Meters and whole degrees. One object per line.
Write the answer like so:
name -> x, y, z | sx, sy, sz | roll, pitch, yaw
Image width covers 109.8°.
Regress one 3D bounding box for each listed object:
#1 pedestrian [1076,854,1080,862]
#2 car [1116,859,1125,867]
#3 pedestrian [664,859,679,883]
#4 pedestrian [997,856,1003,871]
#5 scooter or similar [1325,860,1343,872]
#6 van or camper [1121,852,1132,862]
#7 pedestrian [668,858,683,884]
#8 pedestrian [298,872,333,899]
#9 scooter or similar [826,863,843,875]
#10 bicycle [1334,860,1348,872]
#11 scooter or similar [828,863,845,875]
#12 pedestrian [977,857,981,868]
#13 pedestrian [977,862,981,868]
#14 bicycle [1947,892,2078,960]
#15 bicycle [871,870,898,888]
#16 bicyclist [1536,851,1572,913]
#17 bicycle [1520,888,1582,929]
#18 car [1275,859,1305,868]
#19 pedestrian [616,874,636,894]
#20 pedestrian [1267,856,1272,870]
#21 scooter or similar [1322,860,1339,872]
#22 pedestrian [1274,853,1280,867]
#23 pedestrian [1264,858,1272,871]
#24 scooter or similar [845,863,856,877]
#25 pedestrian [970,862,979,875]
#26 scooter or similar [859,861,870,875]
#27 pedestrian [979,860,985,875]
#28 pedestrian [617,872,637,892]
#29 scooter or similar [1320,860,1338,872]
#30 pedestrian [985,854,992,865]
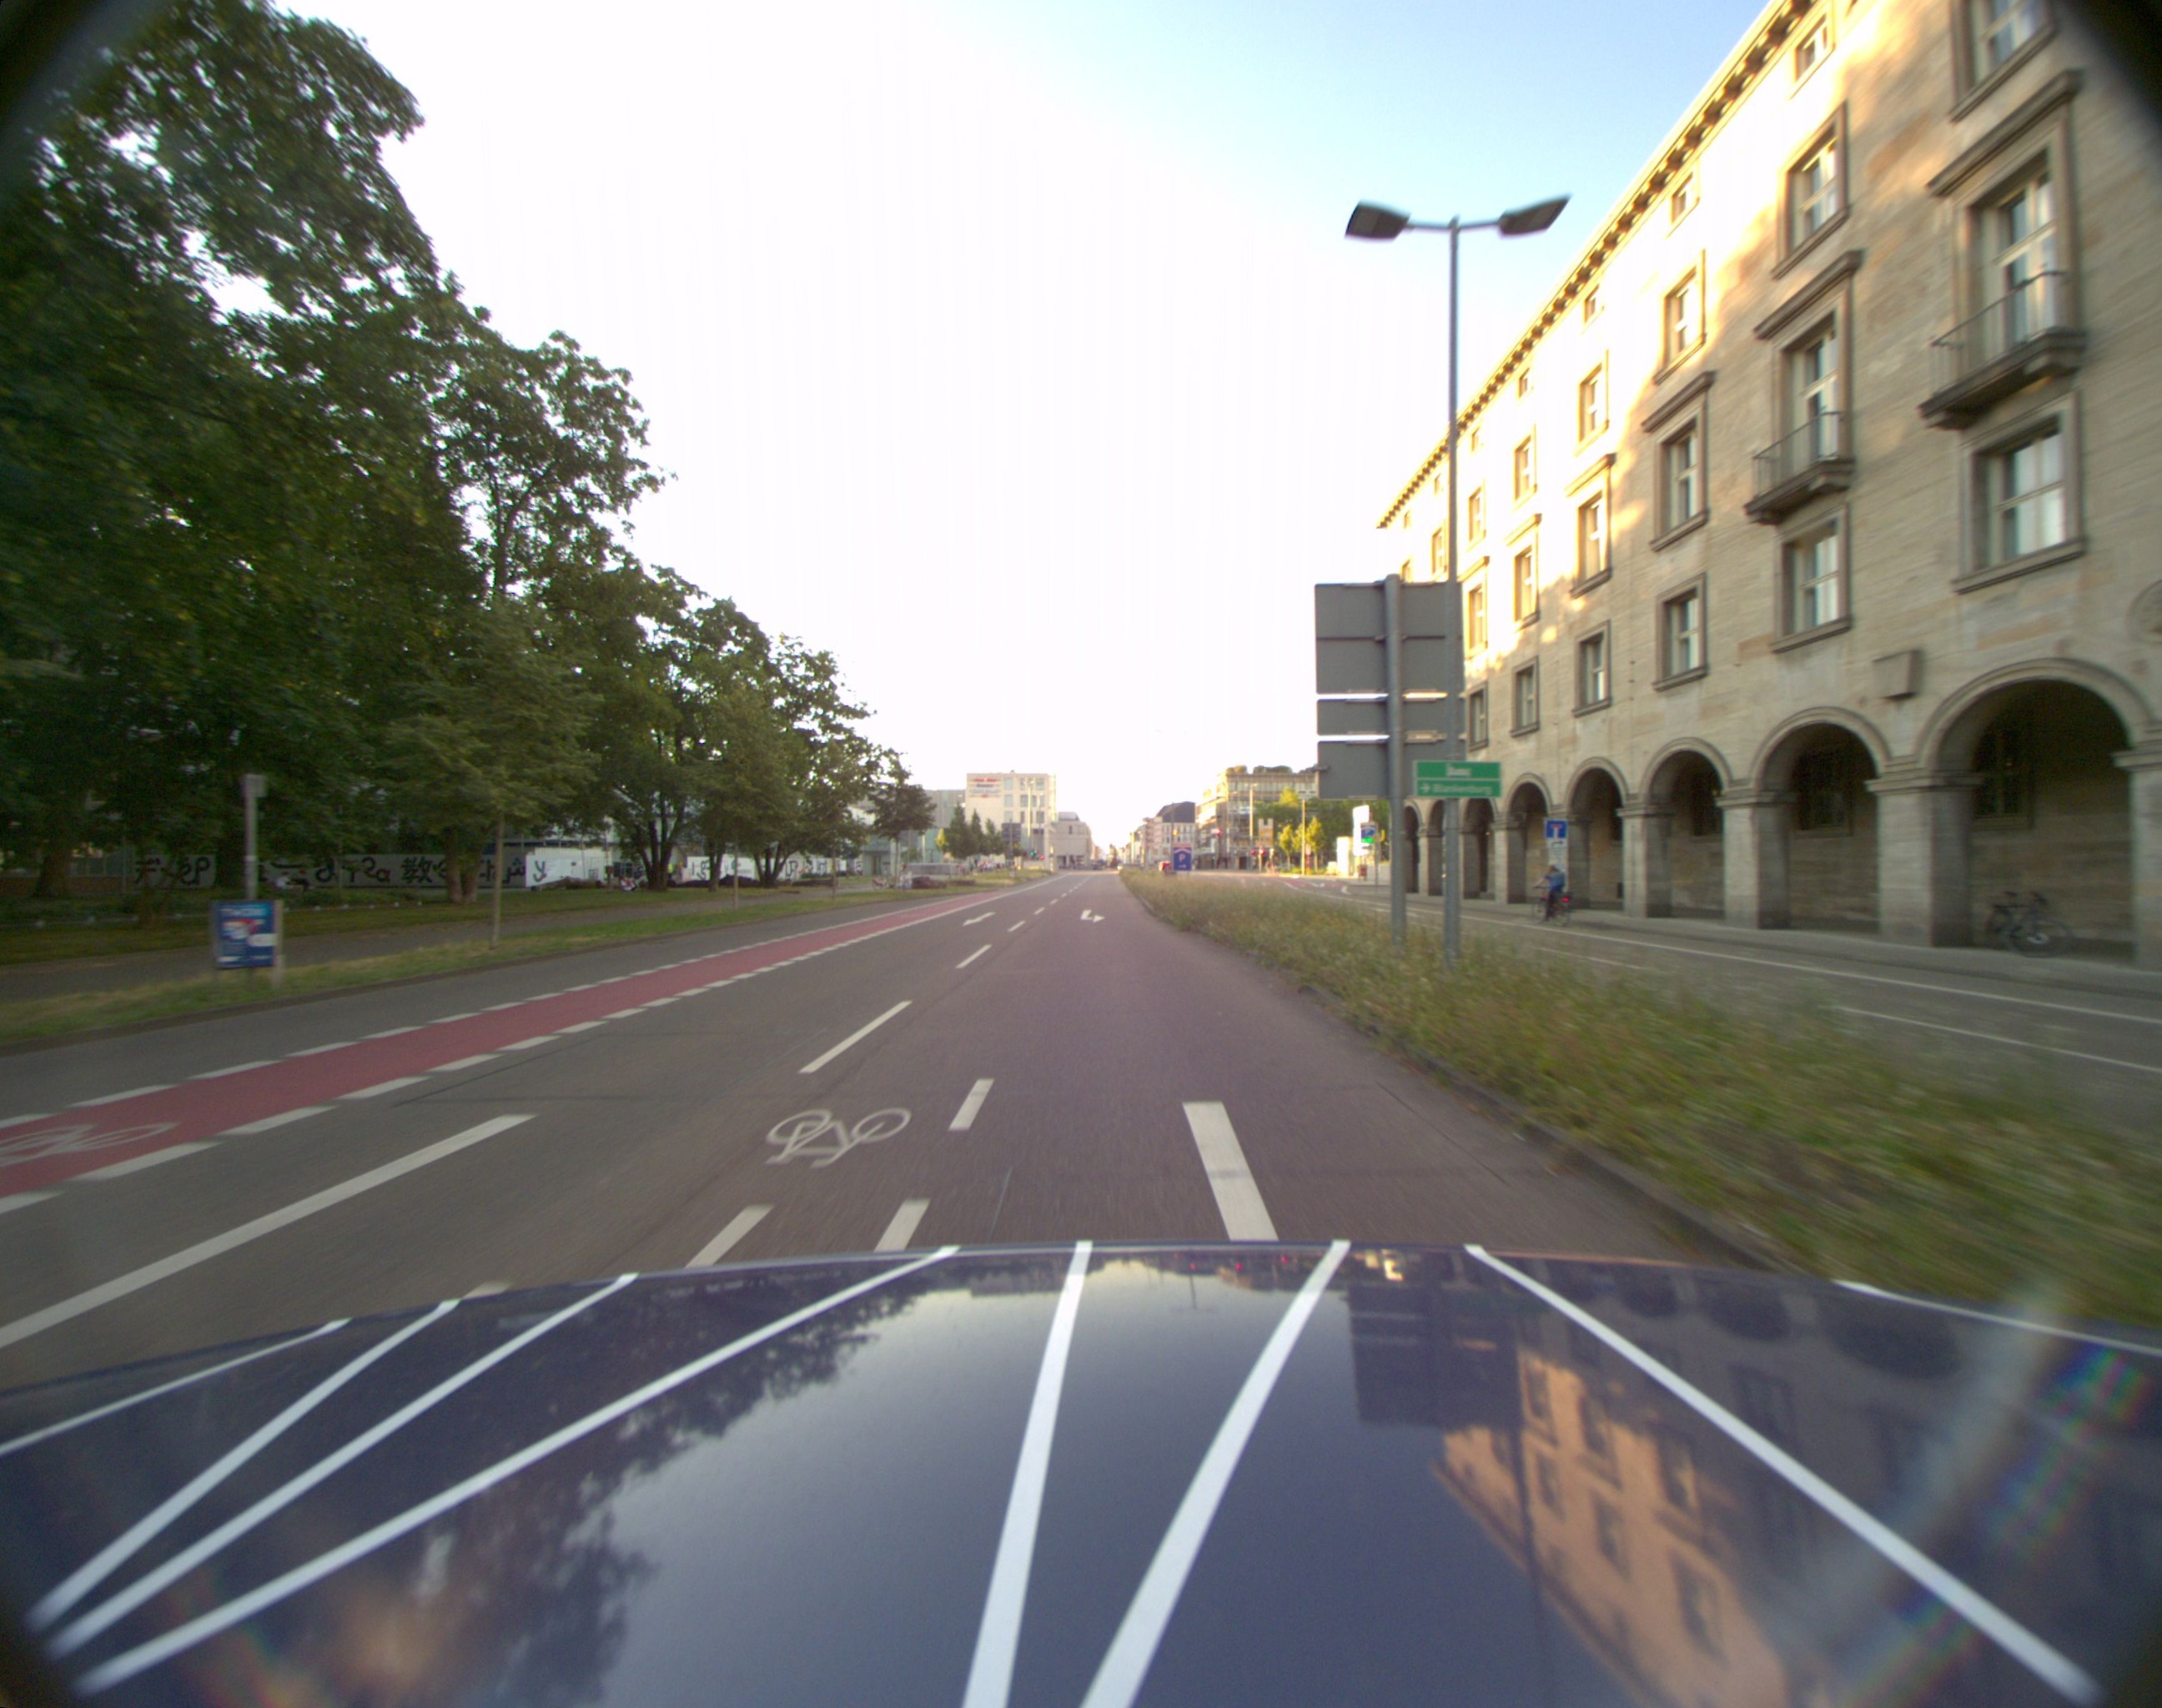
pedestrian -> -0.573, 0.825, 161.303 | 0.764, 1.693, 0.836 | 0, -10, 0
car -> 8.854, 1.977, 169.060 | 2.071, 1.642, 3.999 | 0, 2, 3
pedestrian -> -30.991, 1.260, 57.487 | 0.768, 1.810, 0.601 | 0, 0, 17
pedestrian -> -10.264, 1.254, 96.717 | 0.644, 1.922, 0.619 | 0, 0, 2
scooter or similar -> 28.122, 1.318, 84.556 | 1.840, 1.297, 0.423 | 0, 0, -4
van or camper -> 12.322, 0.880, 207.006 | 2.232, 2.650, 6.163 | 0, -1, -2
pedestrian -> -29.951, 1.241, 56.132 | 0.768, 1.908, 0.601 | 0, 0, 17
pedestrian -> -34.388, 1.410, 34.150 | 0.788, 1.157, 0.766 | 0, 0, -3
scooter or similar -> -25.236, 1.532, 77.746 | 1.573, 1.213, 0.474 | -2, 0, 0
bicycle -> 28.224, 1.274, 82.549 | 0.618, 1.316, 2.509 | 0, 0, 0
scooter or similar -> -25.277, 1.522, 78.564 | 1.573, 1.213, 0.474 | -2, 0, 0
pedestrian -> -16.970, 1.359, 126.406 | 0.604, 1.843, 0.587 | 0, 0, 7
pedestrian -> -16.720, 1.841, 124.413 | 0.649, 0.957, 0.654 | 0, 0, -3
bicycle -> 15.868, 1.188, 13.018 | 0.477, 0.999, 2.008 | 0, 0, 21
bicycle -> -11.806, 1.490, 45.720 | 0.494, 0.999, 1.901 | 3, 0, 22
bicyclist -> 13.040, 0.772, 20.970 | 0.537, 1.683, 0.748 | 0, 0, 2
bicycle -> 13.052, 1.499, 21.180 | 0.543, 0.999, 2.005 | 0, 0, 2
car -> 40.474, 1.878, 147.285 | 5.159, 1.575, 2.001 | 0, -1, 2
pedestrian -> -20.008, 1.317, 33.424 | 0.682, 0.879, 0.592 | 0, 0, -22
pedestrian -> 26.362, 1.214, 106.199 | 0.632, 1.922, 0.776 | 0, 0, 2
scooter or similar -> 28.085, 1.334, 85.482 | 1.792, 1.297, 0.417 | 0, 0, -4
pedestrian -> 27.145, 0.807, 105.330 | 0.660, 1.921, 0.648 | 0, -1, 3
pedestrian -> 25.850, 1.447, 105.151 | 0.874, 1.826, 0.776 | 0, 0, 3
scooter or similar -> -19.877, 1.386, 65.504 | 0.474, 1.213, 1.574 | 2, 0, -4
pedestrian -> -13.870, 1.888, 98.888 | 0.816, 1.804, 1.047 | 0, -1, 7
scooter or similar -> -18.697, 1.201, 65.542 | 0.424, 1.213, 1.399 | 2, 0, 3
pedestrian -> -12.521, 1.676, 96.417 | 0.644, 1.922, 0.619 | 0, 0, 4
pedestrian -> -20.280, 1.247, 33.968 | 0.682, 0.879, 0.622 | 0, 0, -22
scooter or similar -> 28.030, 1.330, 85.989 | 1.863, 1.297, 0.500 | 0, 0, -4
pedestrian -> -15.599, 0.910, 127.767 | 0.896, 1.843, 0.724 | 2, 2, -32
